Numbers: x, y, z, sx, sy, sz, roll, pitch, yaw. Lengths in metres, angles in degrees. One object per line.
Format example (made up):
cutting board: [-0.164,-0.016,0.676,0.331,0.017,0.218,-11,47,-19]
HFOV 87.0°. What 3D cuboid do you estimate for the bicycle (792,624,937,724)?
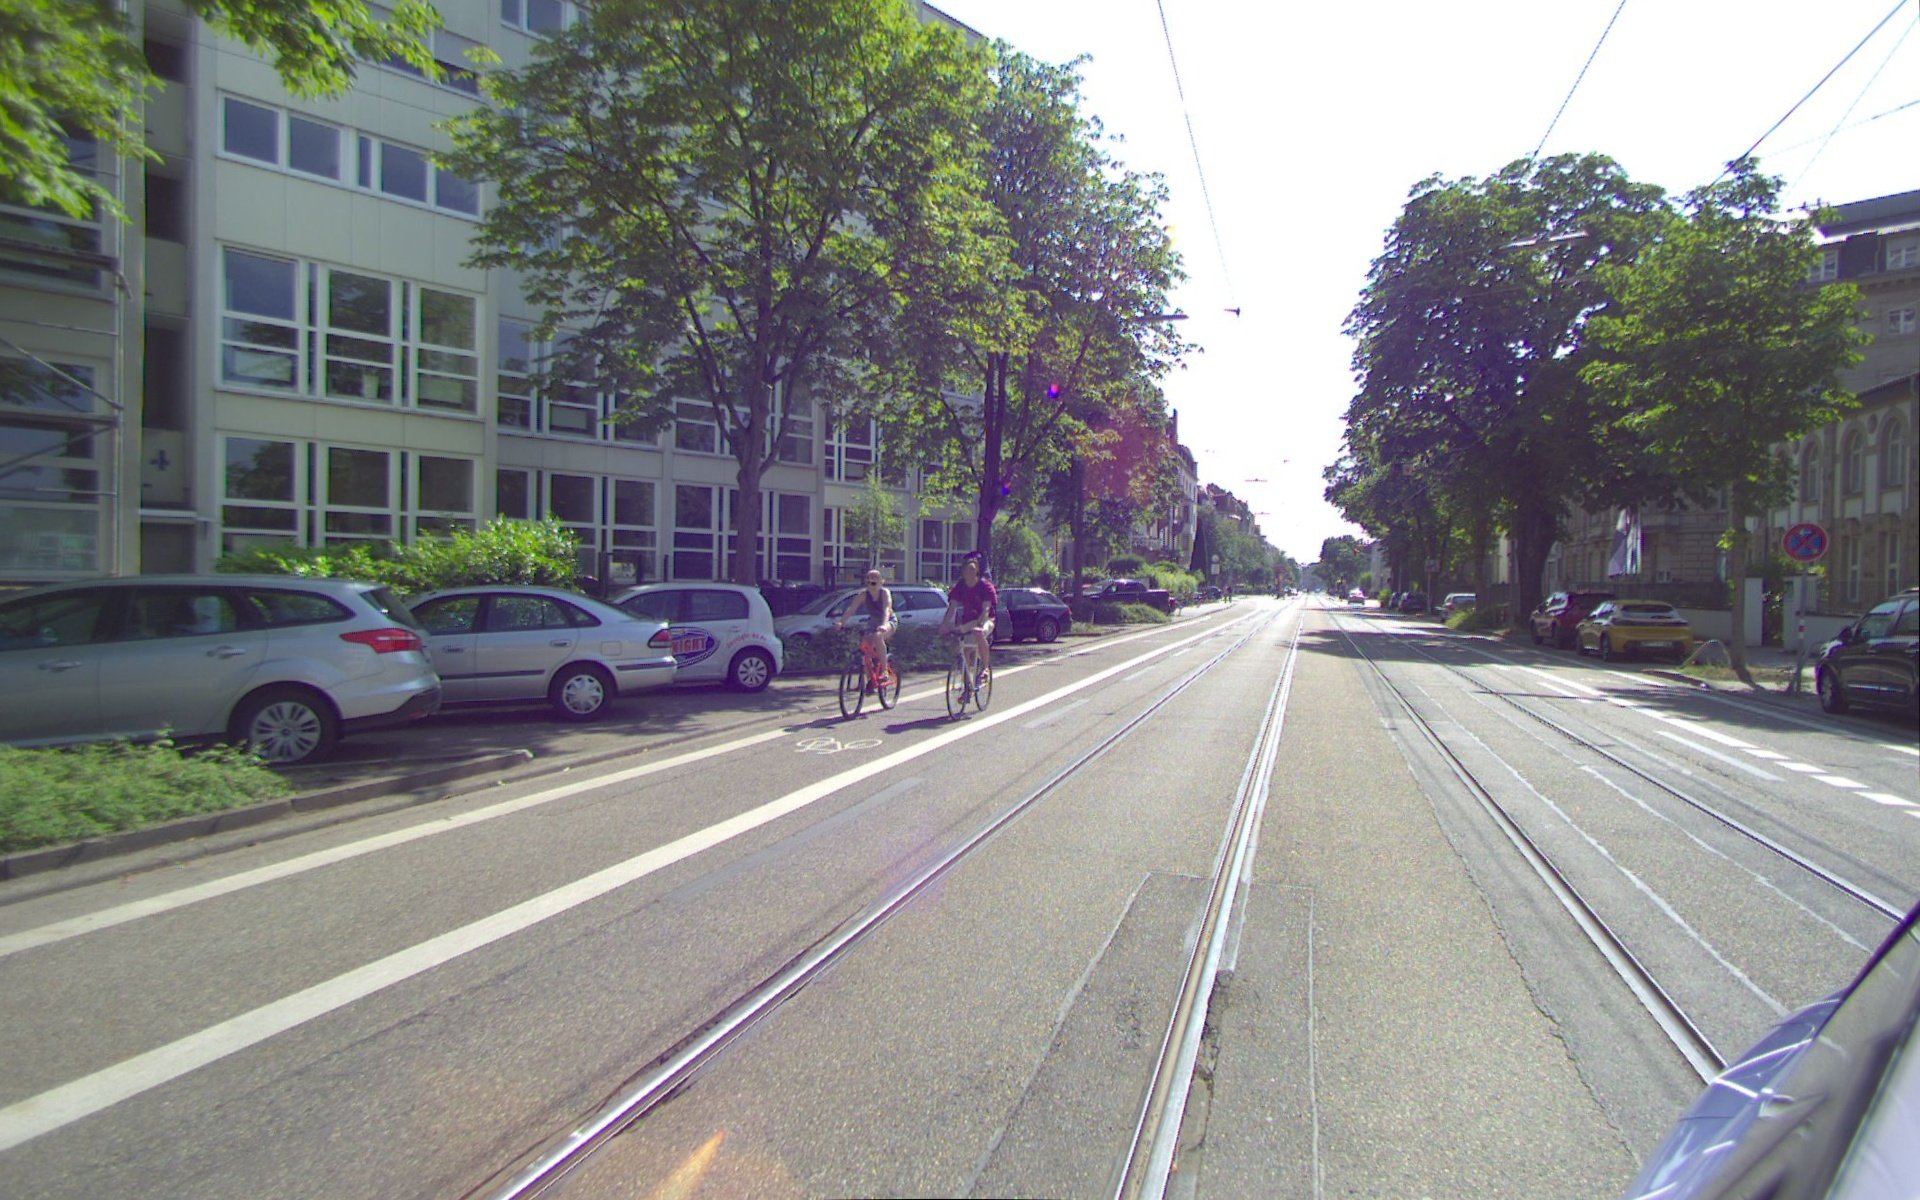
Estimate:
bicycle: [-1.019,0.778,11.526,0.672,0.928,2.303,0,1,22]

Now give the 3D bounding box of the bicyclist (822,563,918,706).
bicyclist: [-1.022,0.370,11.629,0.795,1.562,0.858,0,0,23]

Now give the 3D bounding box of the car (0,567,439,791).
car: [-6.475,0.515,7.772,4.344,1.504,1.787,0,1,-26]

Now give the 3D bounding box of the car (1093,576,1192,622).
car: [7.932,-0.068,43.957,3.922,1.883,2.001,0,1,-33]

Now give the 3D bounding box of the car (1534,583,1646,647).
car: [18.138,0.367,29.339,1.832,1.701,3.977,0,1,18]

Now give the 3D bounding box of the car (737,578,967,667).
car: [-2.093,0.390,20.004,4.256,1.624,1.560,0,0,-29]

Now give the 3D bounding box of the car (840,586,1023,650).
car: [-0.636,0.370,23.085,3.864,1.374,1.561,0,1,-26]

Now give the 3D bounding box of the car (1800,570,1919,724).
car: [11.948,0.514,12.012,1.834,1.705,3.972,0,1,21]

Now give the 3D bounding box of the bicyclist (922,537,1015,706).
bicyclist: [0.110,0.223,11.502,0.795,1.823,0.857,0,0,23]

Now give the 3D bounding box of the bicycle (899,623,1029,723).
bicycle: [0.105,0.774,11.532,0.672,0.928,2.303,0,1,22]

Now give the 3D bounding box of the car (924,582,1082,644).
car: [1.132,0.305,26.403,3.864,1.504,1.561,0,1,-26]

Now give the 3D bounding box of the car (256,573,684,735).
car: [-5.075,0.487,10.895,3.863,1.504,1.616,0,1,-24]

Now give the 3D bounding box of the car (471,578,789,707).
car: [-4.400,0.474,13.603,3.864,1.504,1.616,-1,1,-25]

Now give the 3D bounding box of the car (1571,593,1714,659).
car: [16.416,0.556,24.564,1.832,1.429,3.977,0,1,18]

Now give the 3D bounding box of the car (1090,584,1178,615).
car: [8.749,-0.047,50.872,3.918,1.527,2.003,0,1,-26]

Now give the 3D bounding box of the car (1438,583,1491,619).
car: [25.467,0.019,51.177,1.832,1.701,3.977,0,1,18]
